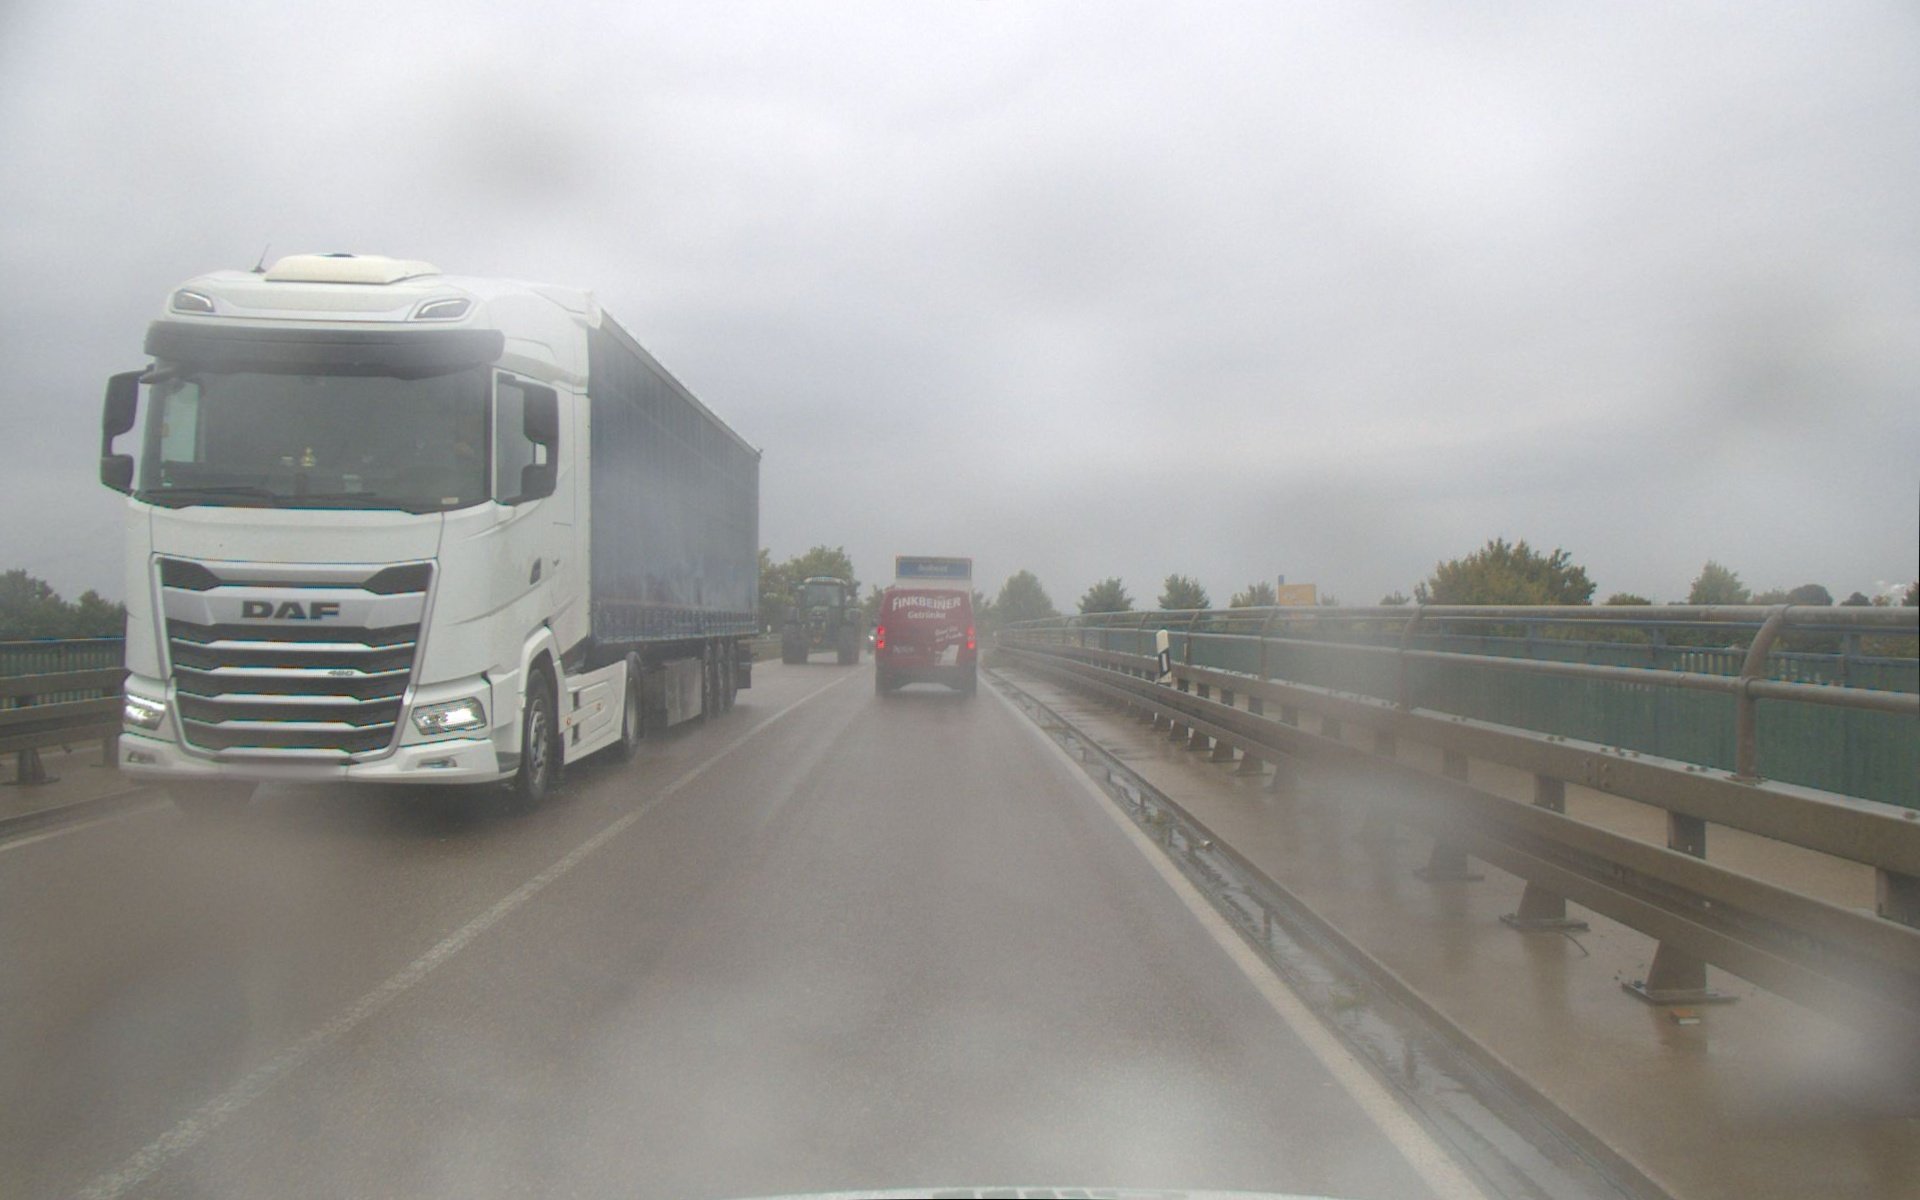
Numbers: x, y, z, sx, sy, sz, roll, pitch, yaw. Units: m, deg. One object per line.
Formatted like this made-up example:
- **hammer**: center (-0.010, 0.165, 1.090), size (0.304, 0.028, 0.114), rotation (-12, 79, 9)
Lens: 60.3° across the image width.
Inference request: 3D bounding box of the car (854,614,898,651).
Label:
- **car**: center (-4.397, 1.672, 87.203), size (2.023, 1.869, 4.930), rotation (0, -1, 0)

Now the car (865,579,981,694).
- **car**: center (-0.702, 0.610, 30.633), size (1.953, 1.959, 4.142), rotation (1, 0, -2)

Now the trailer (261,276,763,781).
- **trailer**: center (-4.399, -0.540, 20.136), size (2.761, 4.040, 13.730), rotation (0, 0, -2)

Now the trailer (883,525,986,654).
- **trailer**: center (-0.881, -0.277, 57.626), size (3.137, 3.990, 8.737), rotation (3, -1, -1)

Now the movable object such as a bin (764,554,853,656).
- **movable object such as a bin**: center (-5.385, 0.198, 59.376), size (2.692, 3.506, 4.643), rotation (0, -1, 1)

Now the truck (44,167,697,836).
- **truck**: center (-4.259, -0.570, 14.414), size (2.761, 4.040, 8.760), rotation (0, 0, -2)
